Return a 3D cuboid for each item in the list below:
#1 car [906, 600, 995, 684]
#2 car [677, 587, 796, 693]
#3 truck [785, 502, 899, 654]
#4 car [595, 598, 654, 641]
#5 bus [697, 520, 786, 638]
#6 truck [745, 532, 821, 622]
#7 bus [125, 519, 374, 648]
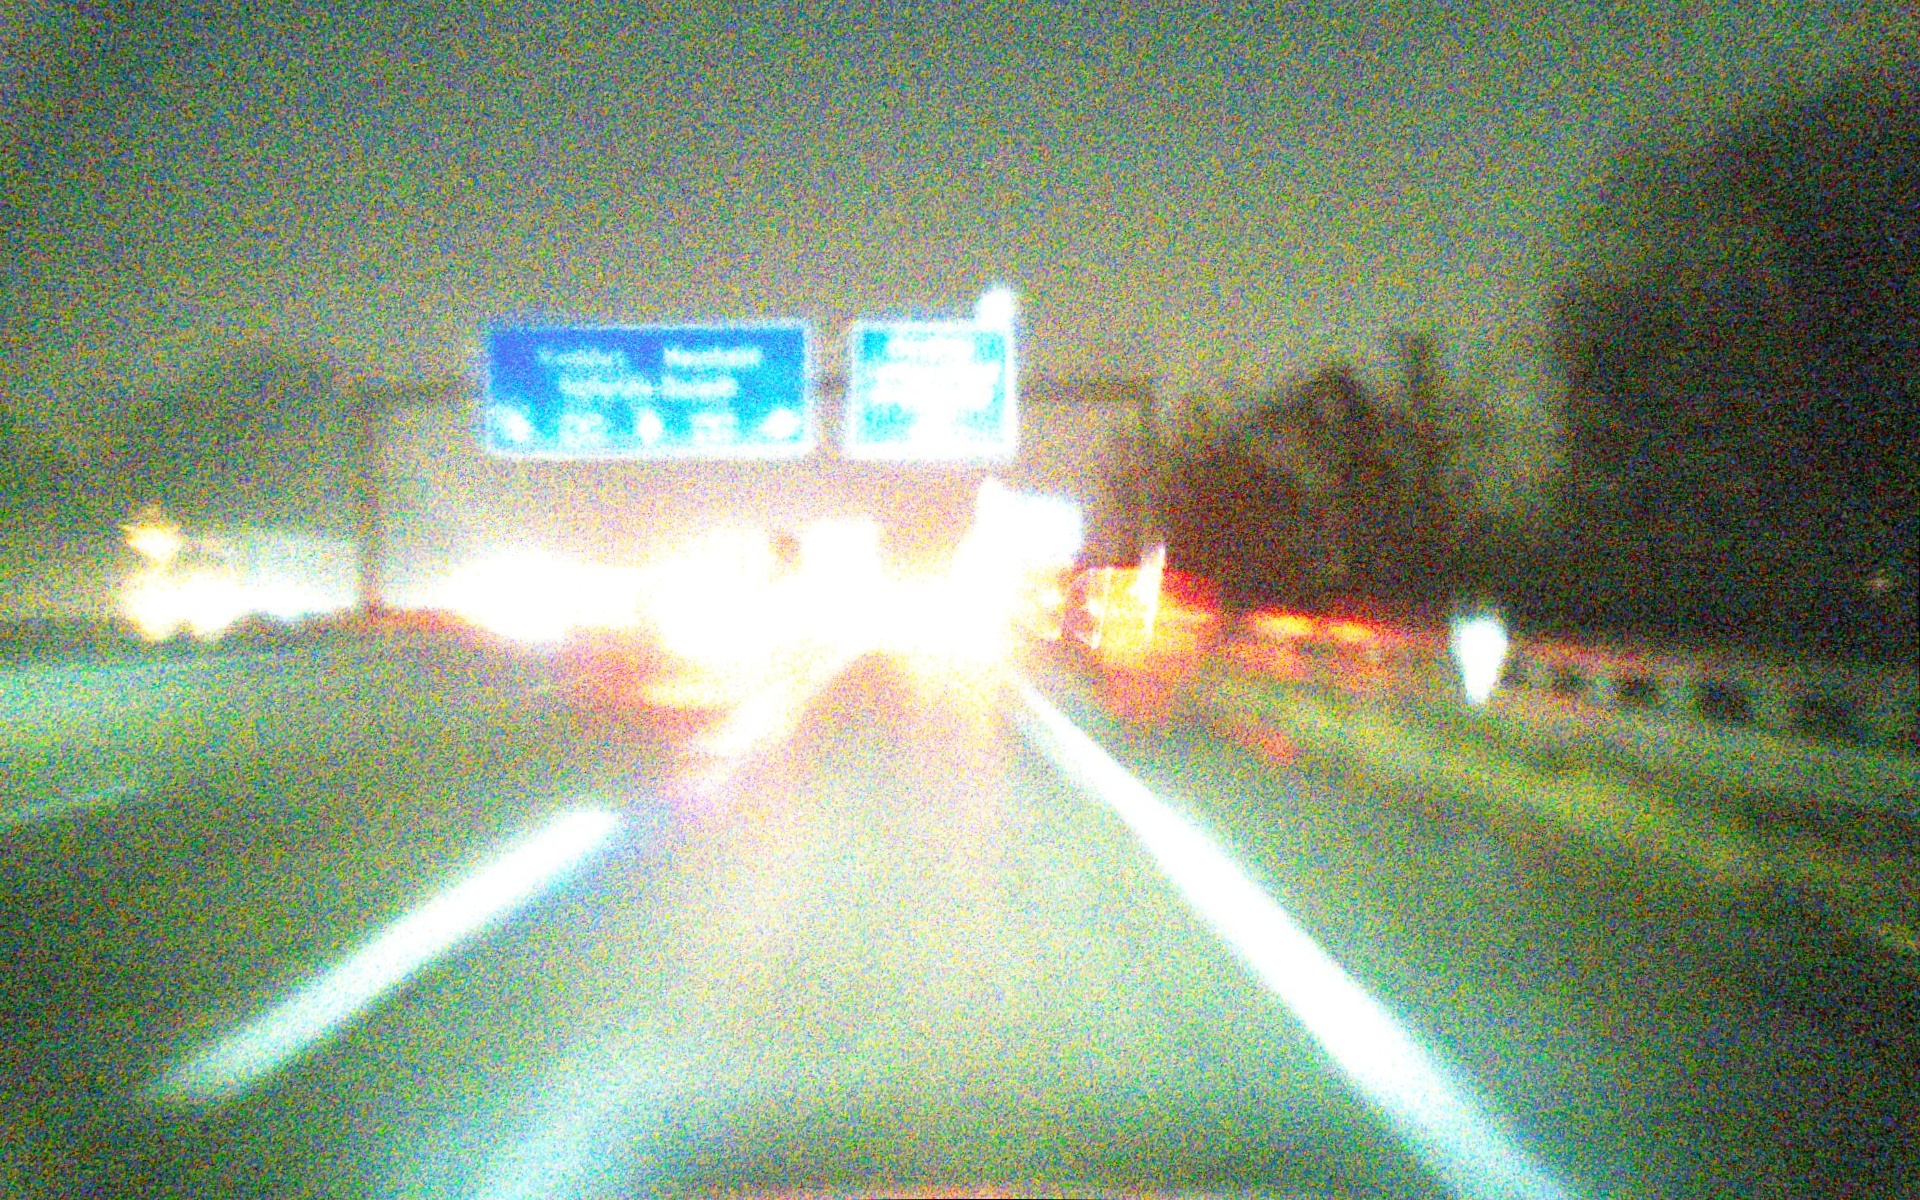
[{"bbox_3d":[-0.242,0.939,38.703,1.953,1.839,3.999,1,0,-1],"label":"car"},{"bbox_3d":[-4.664,0.801,35.169,2.084,2.049,4.642,1,0,-3],"label":"car"},{"bbox_3d":[-4.734,-0.820,69.068,4.125,5.747,11.463,1,0,-2],"label":"truck"},{"bbox_3d":[-13.226,0.754,65.338,1.956,1.624,3.993,1,0,-7],"label":"car"},{"bbox_3d":[-9.207,-0.819,70.891,3.036,4.587,10.903,1,0,-4],"label":"bus"},{"bbox_3d":[-11.971,-1.464,112.867,4.125,5.747,11.463,1,0,-2],"label":"truck"},{"bbox_3d":[-28.594,-0.571,68.037,3.012,4.568,17.009,1,0,-1],"label":"bus"}]
